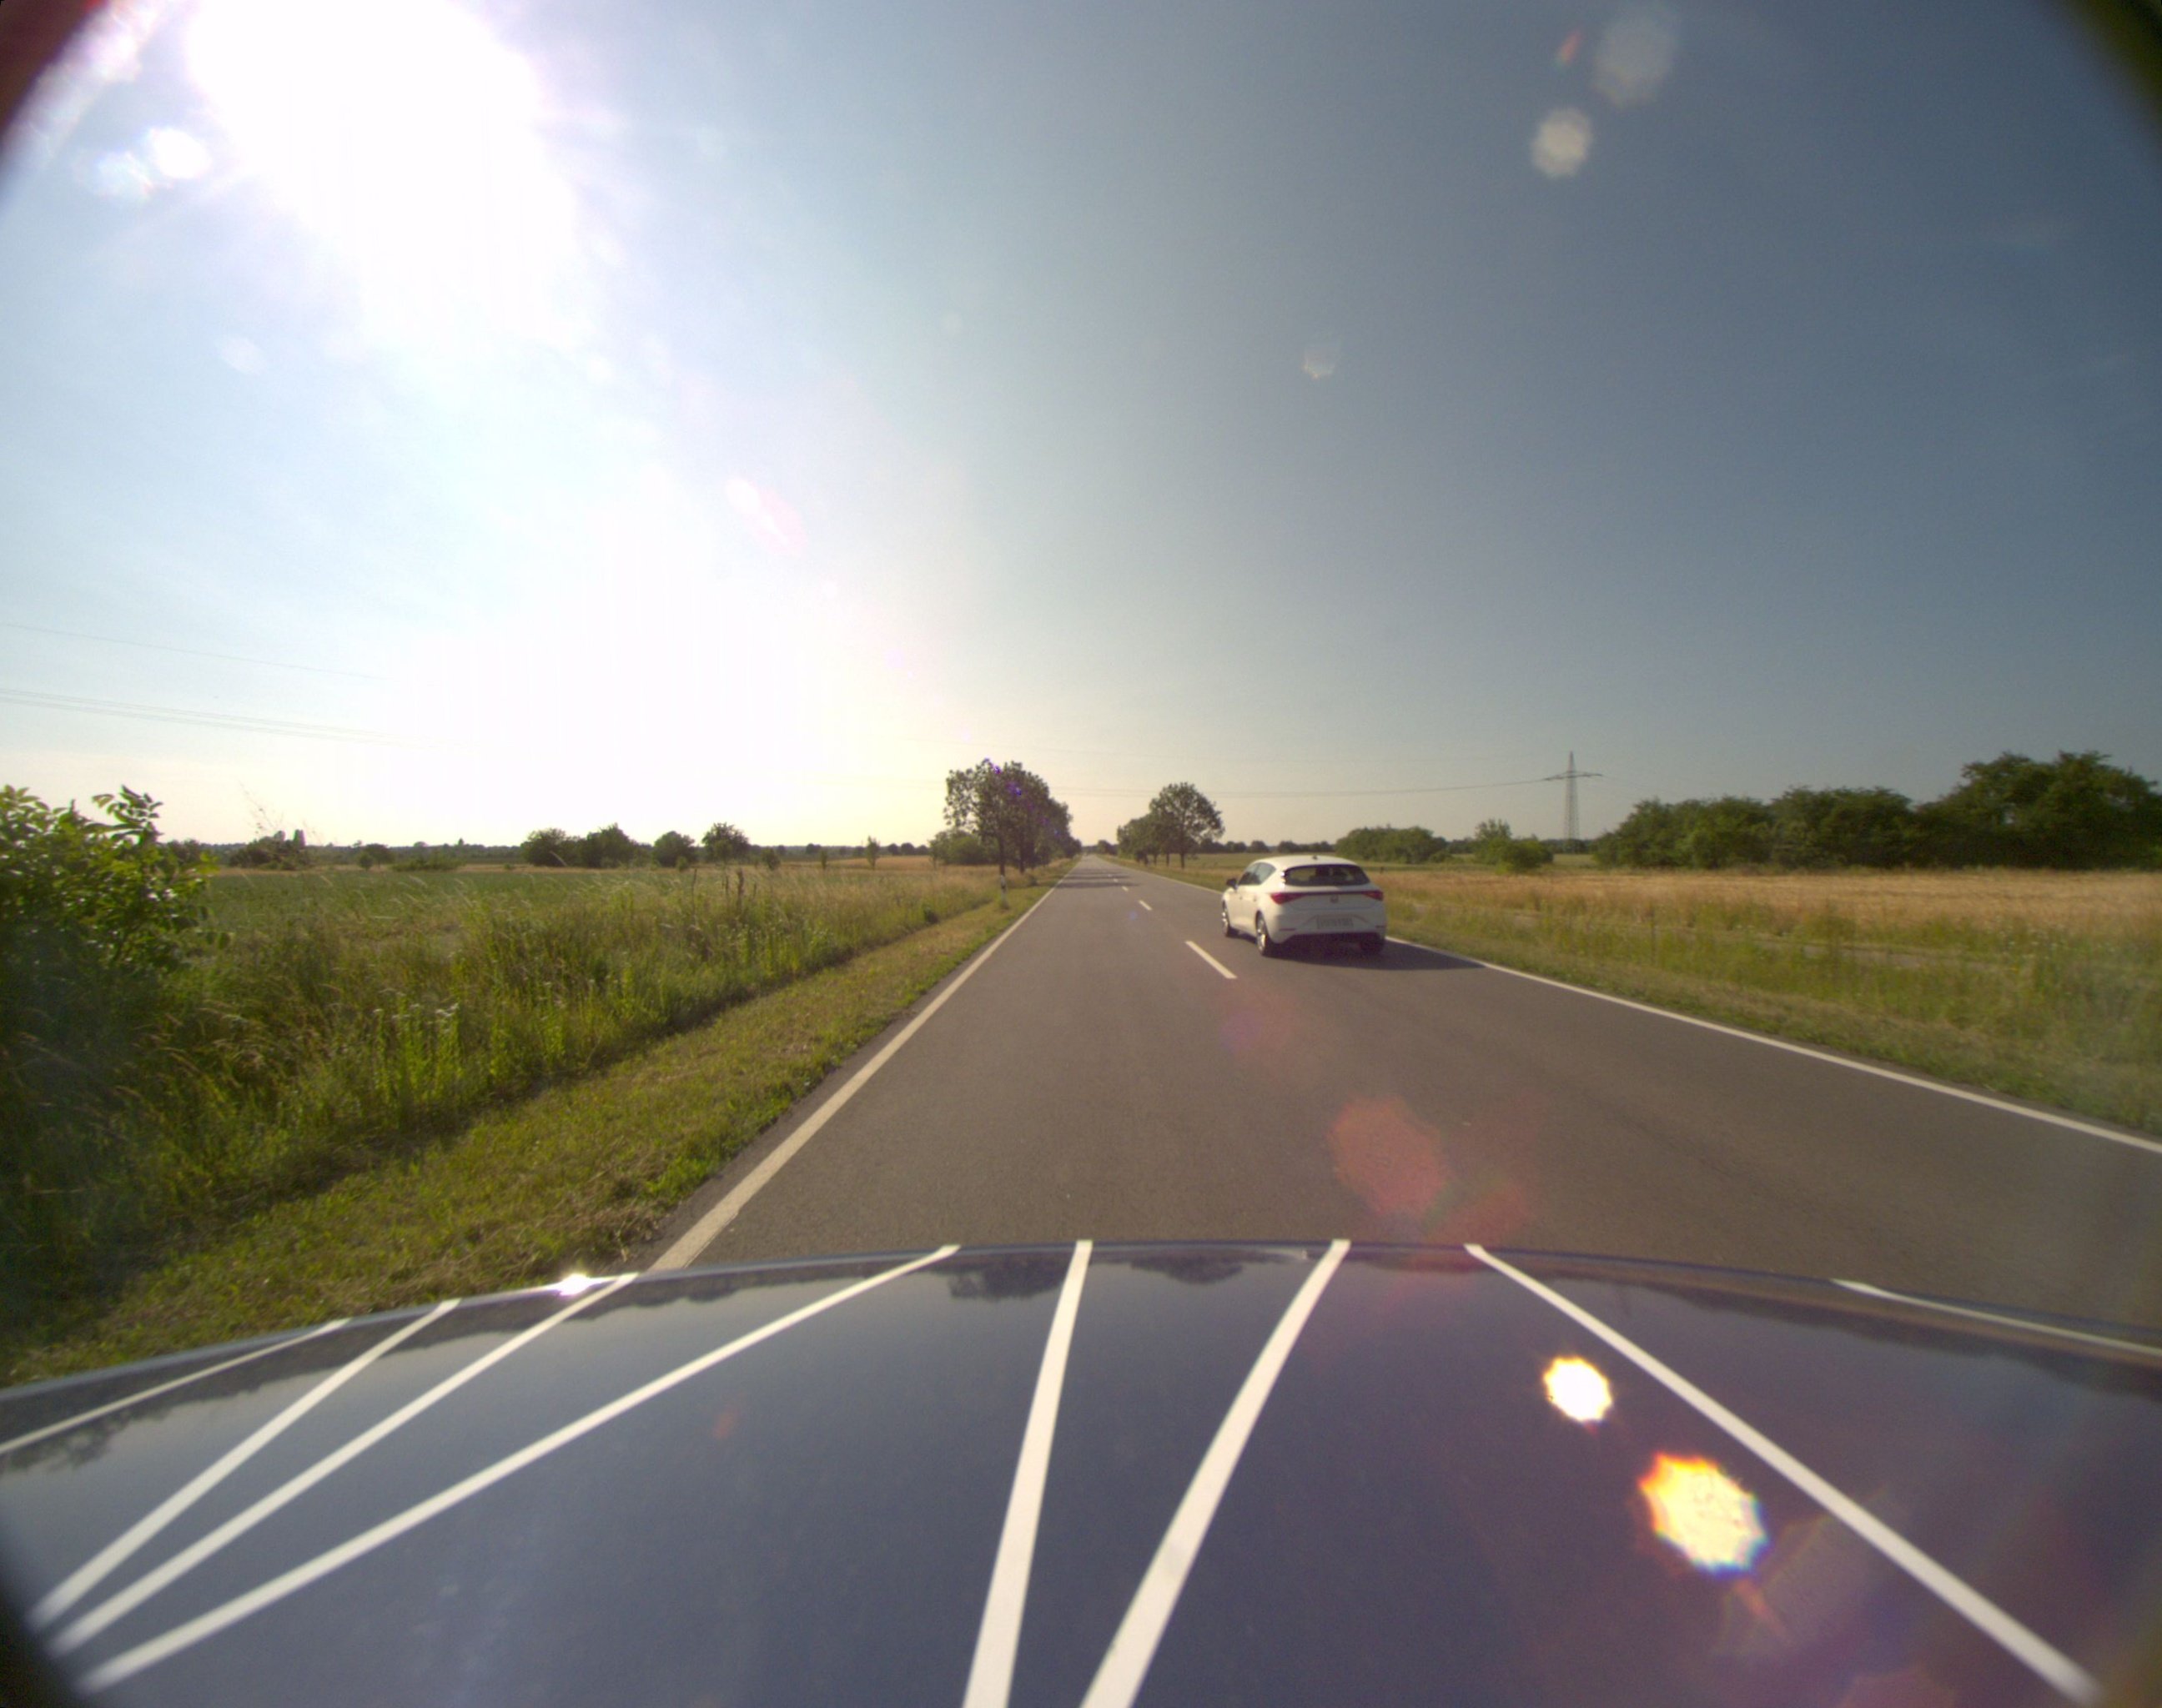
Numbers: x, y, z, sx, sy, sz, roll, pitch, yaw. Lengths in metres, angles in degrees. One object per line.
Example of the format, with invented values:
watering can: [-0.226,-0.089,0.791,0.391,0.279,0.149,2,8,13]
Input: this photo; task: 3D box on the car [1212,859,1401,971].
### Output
car: [3.386,0.828,12.347,1.731,1.428,4.516,-1,0,0]
